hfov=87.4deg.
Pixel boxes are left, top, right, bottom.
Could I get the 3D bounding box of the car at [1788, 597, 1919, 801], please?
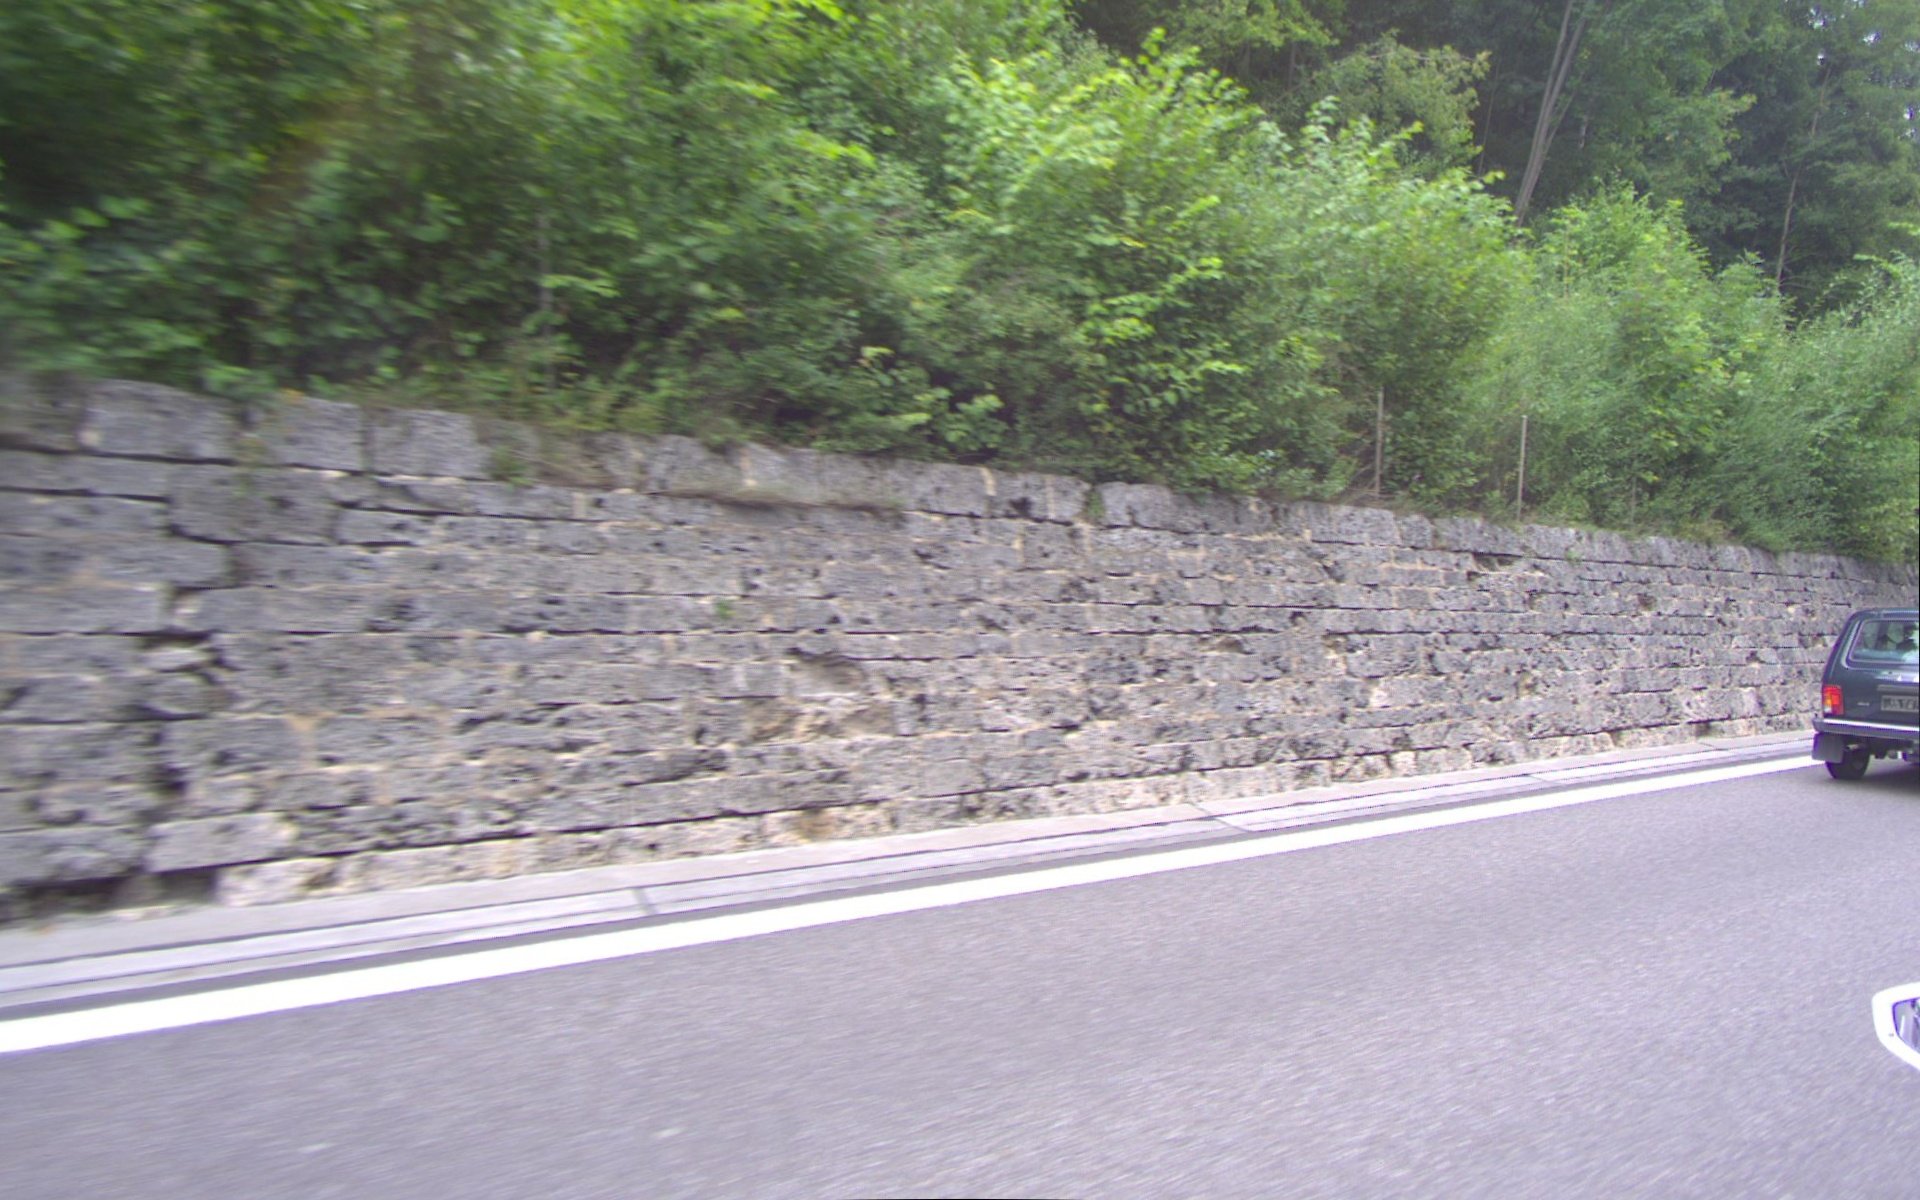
[{"bbox_3d":[9.552,0.870,9.348,4.023,1.660,1.660,2,0,-32],"label":"car"}]
